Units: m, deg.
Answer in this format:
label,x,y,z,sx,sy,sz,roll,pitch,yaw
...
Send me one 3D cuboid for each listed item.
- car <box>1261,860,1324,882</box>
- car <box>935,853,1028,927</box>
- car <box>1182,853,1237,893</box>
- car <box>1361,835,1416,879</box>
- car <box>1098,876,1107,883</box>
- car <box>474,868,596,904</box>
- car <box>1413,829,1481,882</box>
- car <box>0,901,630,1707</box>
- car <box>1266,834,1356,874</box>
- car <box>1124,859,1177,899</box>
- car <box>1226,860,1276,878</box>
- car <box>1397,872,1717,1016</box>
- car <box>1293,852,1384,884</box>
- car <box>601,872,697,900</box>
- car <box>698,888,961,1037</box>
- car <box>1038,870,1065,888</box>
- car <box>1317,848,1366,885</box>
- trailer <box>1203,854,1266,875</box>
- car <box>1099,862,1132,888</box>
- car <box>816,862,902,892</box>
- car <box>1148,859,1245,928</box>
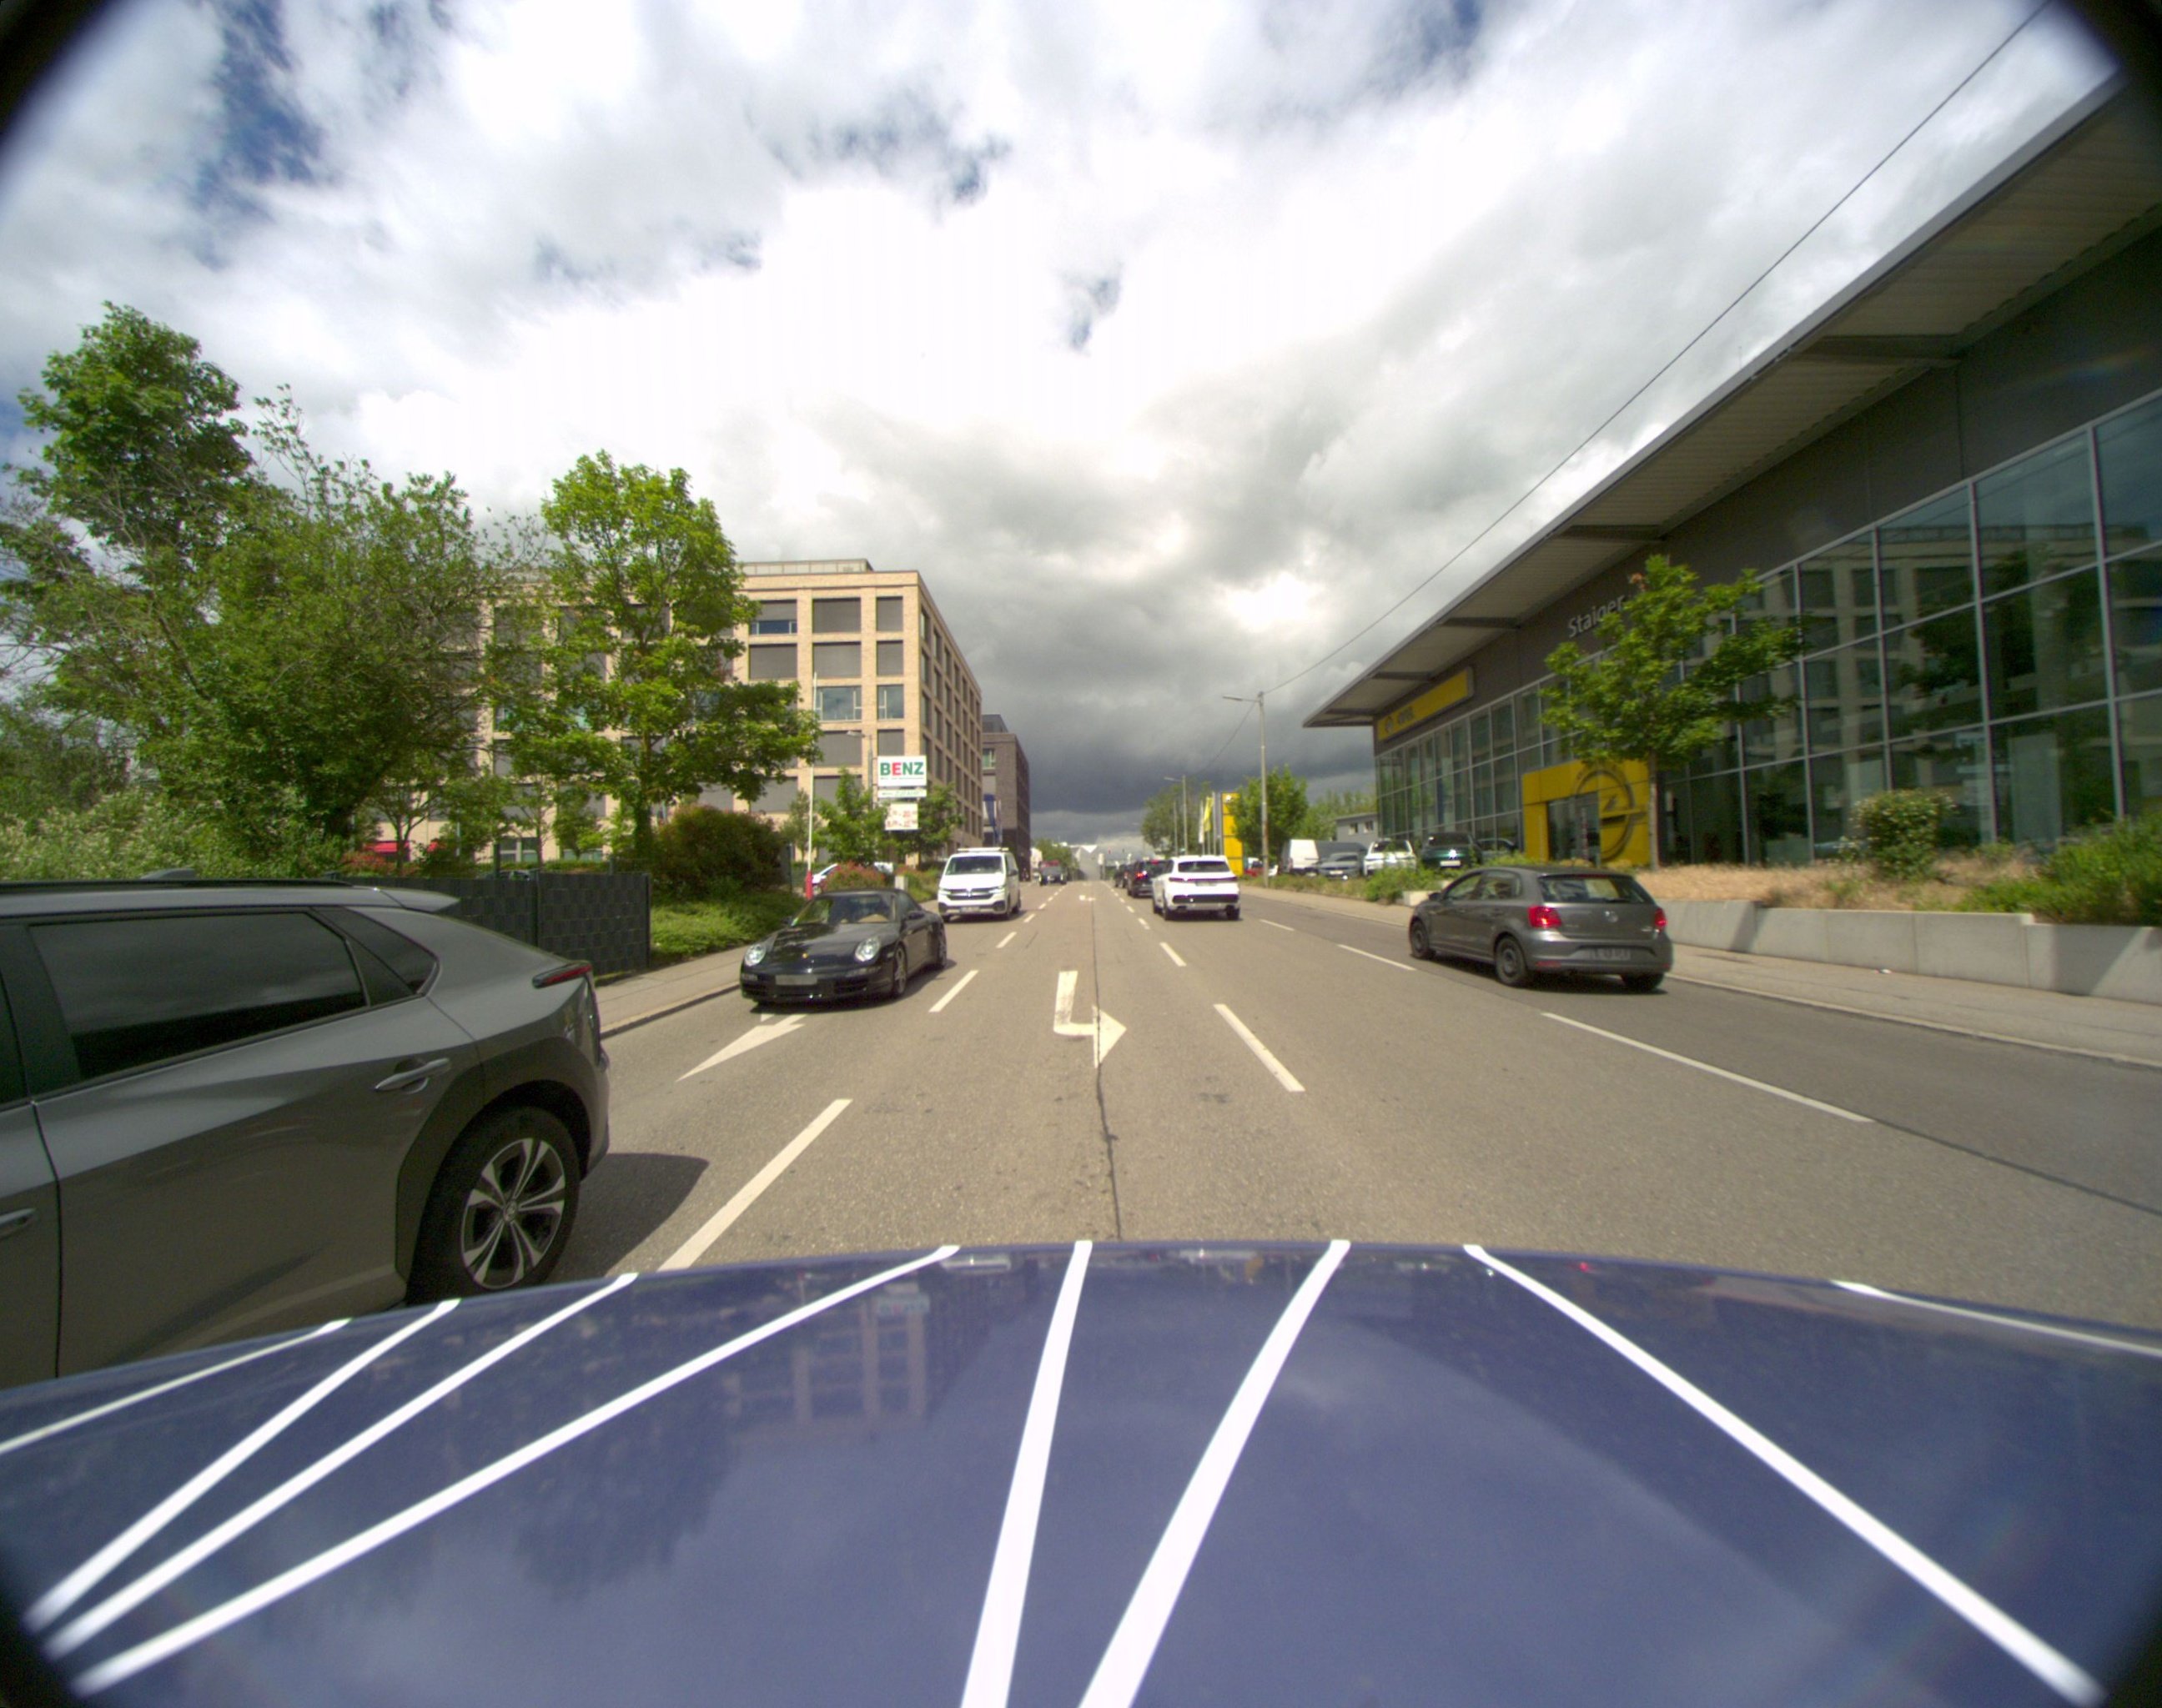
label,x,y,z,sx,sy,sz,roll,pitch,yaw
car,14.900,1.199,53.639,3.946,1.518,1.561,-1,0,-2
car,-2.772,0.946,22.168,1.964,1.840,4.645,-3,0,1
car,6.451,0.929,38.805,1.924,1.848,5.199,1,0,0
car,12.171,0.110,29.932,1.793,1.604,4.116,-1,0,25
car,4.803,5.661,169.819,1.731,1.494,3.753,-1,0,-1
car,-23.168,1.346,32.312,3.997,1.401,1.600,-1,0,-1
car,12.260,0.053,25.298,1.817,1.604,4.117,-1,0,29
car,-2.997,1.039,0.981,1.924,1.604,4.683,-3,0,1
car,13.228,-0.009,43.953,4.531,2.181,2.179,-1,0,-1
car,2.931,1.020,32.791,1.797,1.604,4.108,-1,0,-1
car,13.645,1.181,61.067,3.669,1.401,1.815,-1,0,2
car,5.708,0.976,9.734,1.763,1.405,3.734,1,0,1
car,13.280,0.704,39.285,4.108,1.604,1.797,-1,0,-8
car,-23.434,1.707,41.302,4.219,1.410,1.735,-1,0,-1
car,-2.935,1.216,10.039,1.777,1.267,4.569,-3,0,2
car,-2.290,1.924,59.143,1.777,1.267,4.569,-1,0,2
car,12.171,0.569,35.380,1.794,1.604,4.116,-1,0,24
trailer,13.087,0.905,64.955,4.835,1.742,2.095,-1,0,-3
car,2.055,1.237,45.907,1.731,1.494,3.438,-1,0,-1
car,-12.130,1.230,41.669,4.220,1.567,1.735,-1,0,-4
car,2.945,0.953,20.315,1.924,1.604,4.416,-1,0,1
